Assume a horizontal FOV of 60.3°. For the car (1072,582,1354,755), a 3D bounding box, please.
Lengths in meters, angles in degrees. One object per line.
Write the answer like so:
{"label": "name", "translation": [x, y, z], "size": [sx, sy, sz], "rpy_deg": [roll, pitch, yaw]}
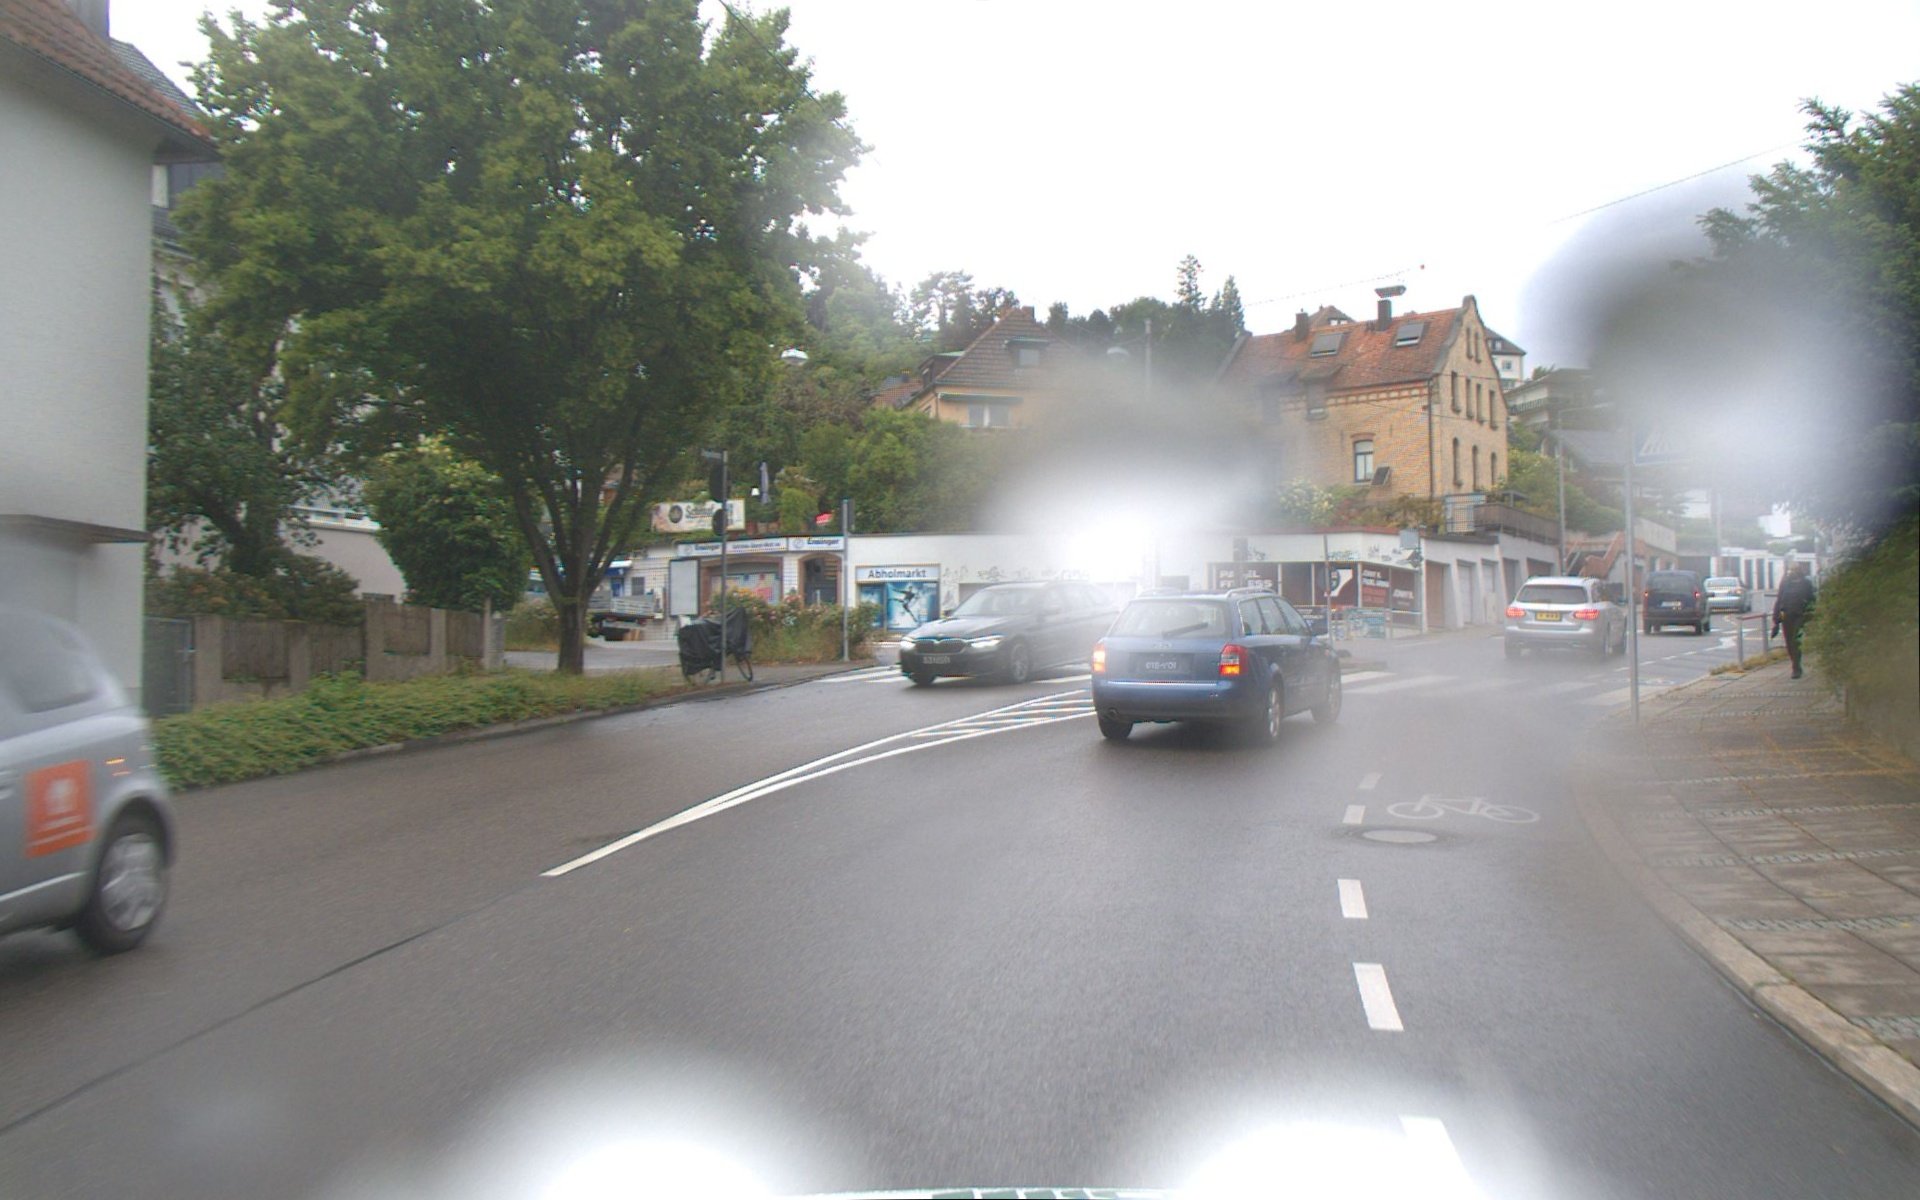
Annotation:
{"label": "car", "translation": [2.684, 0.575, 16.719], "size": [1.775, 1.464, 4.079], "rpy_deg": [0, 1, 25]}

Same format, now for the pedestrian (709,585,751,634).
{"label": "pedestrian", "translation": [-7.244, 0.290, 52.122], "size": [0.958, 1.531, 0.888], "rpy_deg": [1, 1, 31]}

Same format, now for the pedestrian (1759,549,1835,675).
{"label": "pedestrian", "translation": [12.075, 0.169, 23.850], "size": [0.789, 1.752, 1.057], "rpy_deg": [-3, -1, 33]}

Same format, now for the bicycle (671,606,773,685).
{"label": "bicycle", "translation": [-3.706, 0.688, 25.895], "size": [0.413, 1.104, 1.959], "rpy_deg": [0, 2, 31]}

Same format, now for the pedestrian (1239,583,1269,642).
{"label": "pedestrian", "translation": [8.706, 0.385, 49.060], "size": [0.574, 1.719, 0.622], "rpy_deg": [-2, -2, -21]}

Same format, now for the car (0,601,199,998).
{"label": "car", "translation": [-4.306, 0.767, 5.523], "size": [1.456, 1.448, 3.859], "rpy_deg": [-3, 0, 4]}

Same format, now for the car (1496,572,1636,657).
{"label": "car", "translation": [11.217, 0.205, 30.453], "size": [1.778, 1.384, 3.993], "rpy_deg": [0, 2, 30]}

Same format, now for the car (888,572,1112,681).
{"label": "car", "translation": [0.742, 0.387, 25.874], "size": [1.832, 1.518, 4.634], "rpy_deg": [-2, -1, 24]}

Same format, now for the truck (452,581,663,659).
{"label": "truck", "translation": [-12.858, 0.618, 52.710], "size": [6.658, 2.309, 2.311], "rpy_deg": [1, -1, 29]}

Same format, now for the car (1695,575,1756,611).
{"label": "car", "translation": [30.681, -0.292, 66.241], "size": [1.790, 1.319, 3.992], "rpy_deg": [-1, 0, 31]}

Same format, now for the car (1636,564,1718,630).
{"label": "car", "translation": [21.258, -0.127, 48.956], "size": [1.790, 1.851, 3.993], "rpy_deg": [-1, 0, 29]}
